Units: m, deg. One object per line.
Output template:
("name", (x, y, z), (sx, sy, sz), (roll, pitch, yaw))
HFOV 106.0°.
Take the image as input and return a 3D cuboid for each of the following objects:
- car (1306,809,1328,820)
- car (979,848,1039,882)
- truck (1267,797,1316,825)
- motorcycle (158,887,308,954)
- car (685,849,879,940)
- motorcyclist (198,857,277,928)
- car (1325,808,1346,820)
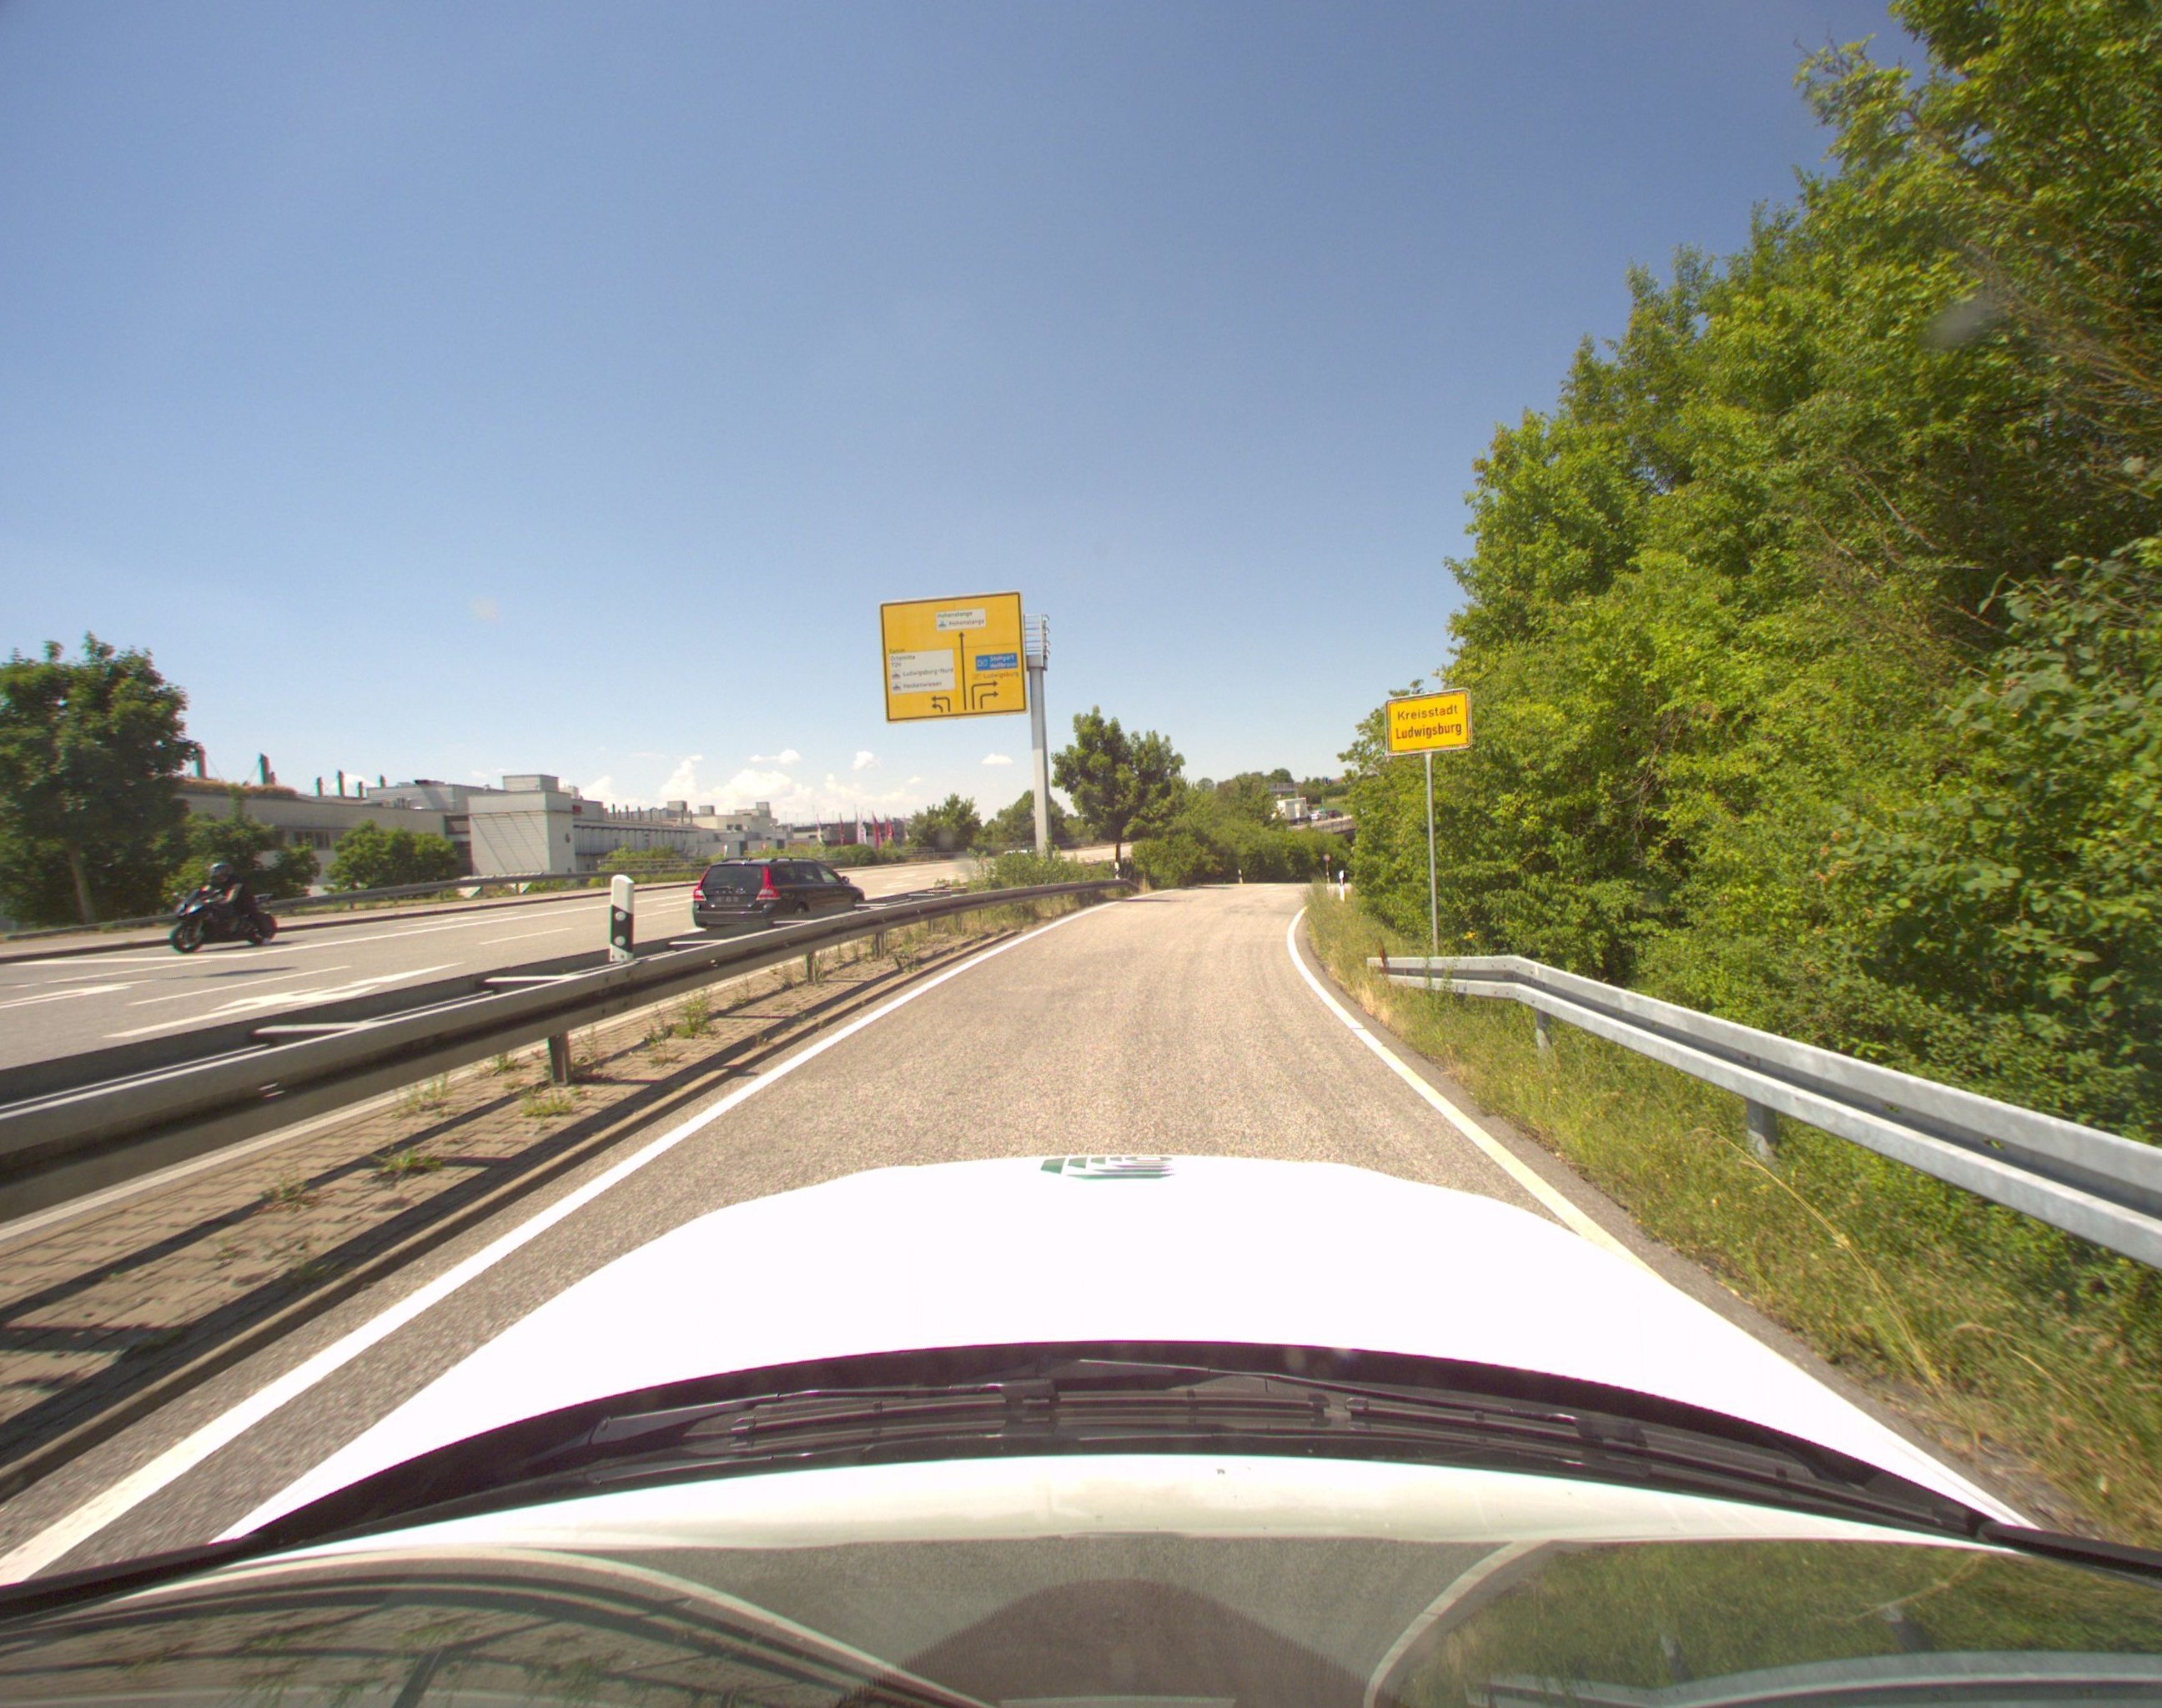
("car", (34.705, -5.781, 119.649), (1.878, 1.363, 4.026), (-1, 0, 36))
("car", (-3.362, 0.519, 38.894), (1.983, 1.486, 4.144), (-2, 0, 7))
("truck", (29.632, -6.093, 114.440), (2.997, 3.589, 8.961), (-4, 0, 39))
("motorcycle", (-16.364, 1.240, 15.815), (0.561, 1.080, 2.282), (-3, 0, -3))
("car", (-5.892, 0.728, 16.790), (1.722, 1.545, 4.743), (-3, 0, 7))
("motorcyclist", (-16.396, 0.725, 15.845), (0.673, 1.302, 0.722), (-4, 0, -3))
("car", (39.285, -6.203, 125.626), (1.974, 1.618, 4.025), (-1, 0, 32))
